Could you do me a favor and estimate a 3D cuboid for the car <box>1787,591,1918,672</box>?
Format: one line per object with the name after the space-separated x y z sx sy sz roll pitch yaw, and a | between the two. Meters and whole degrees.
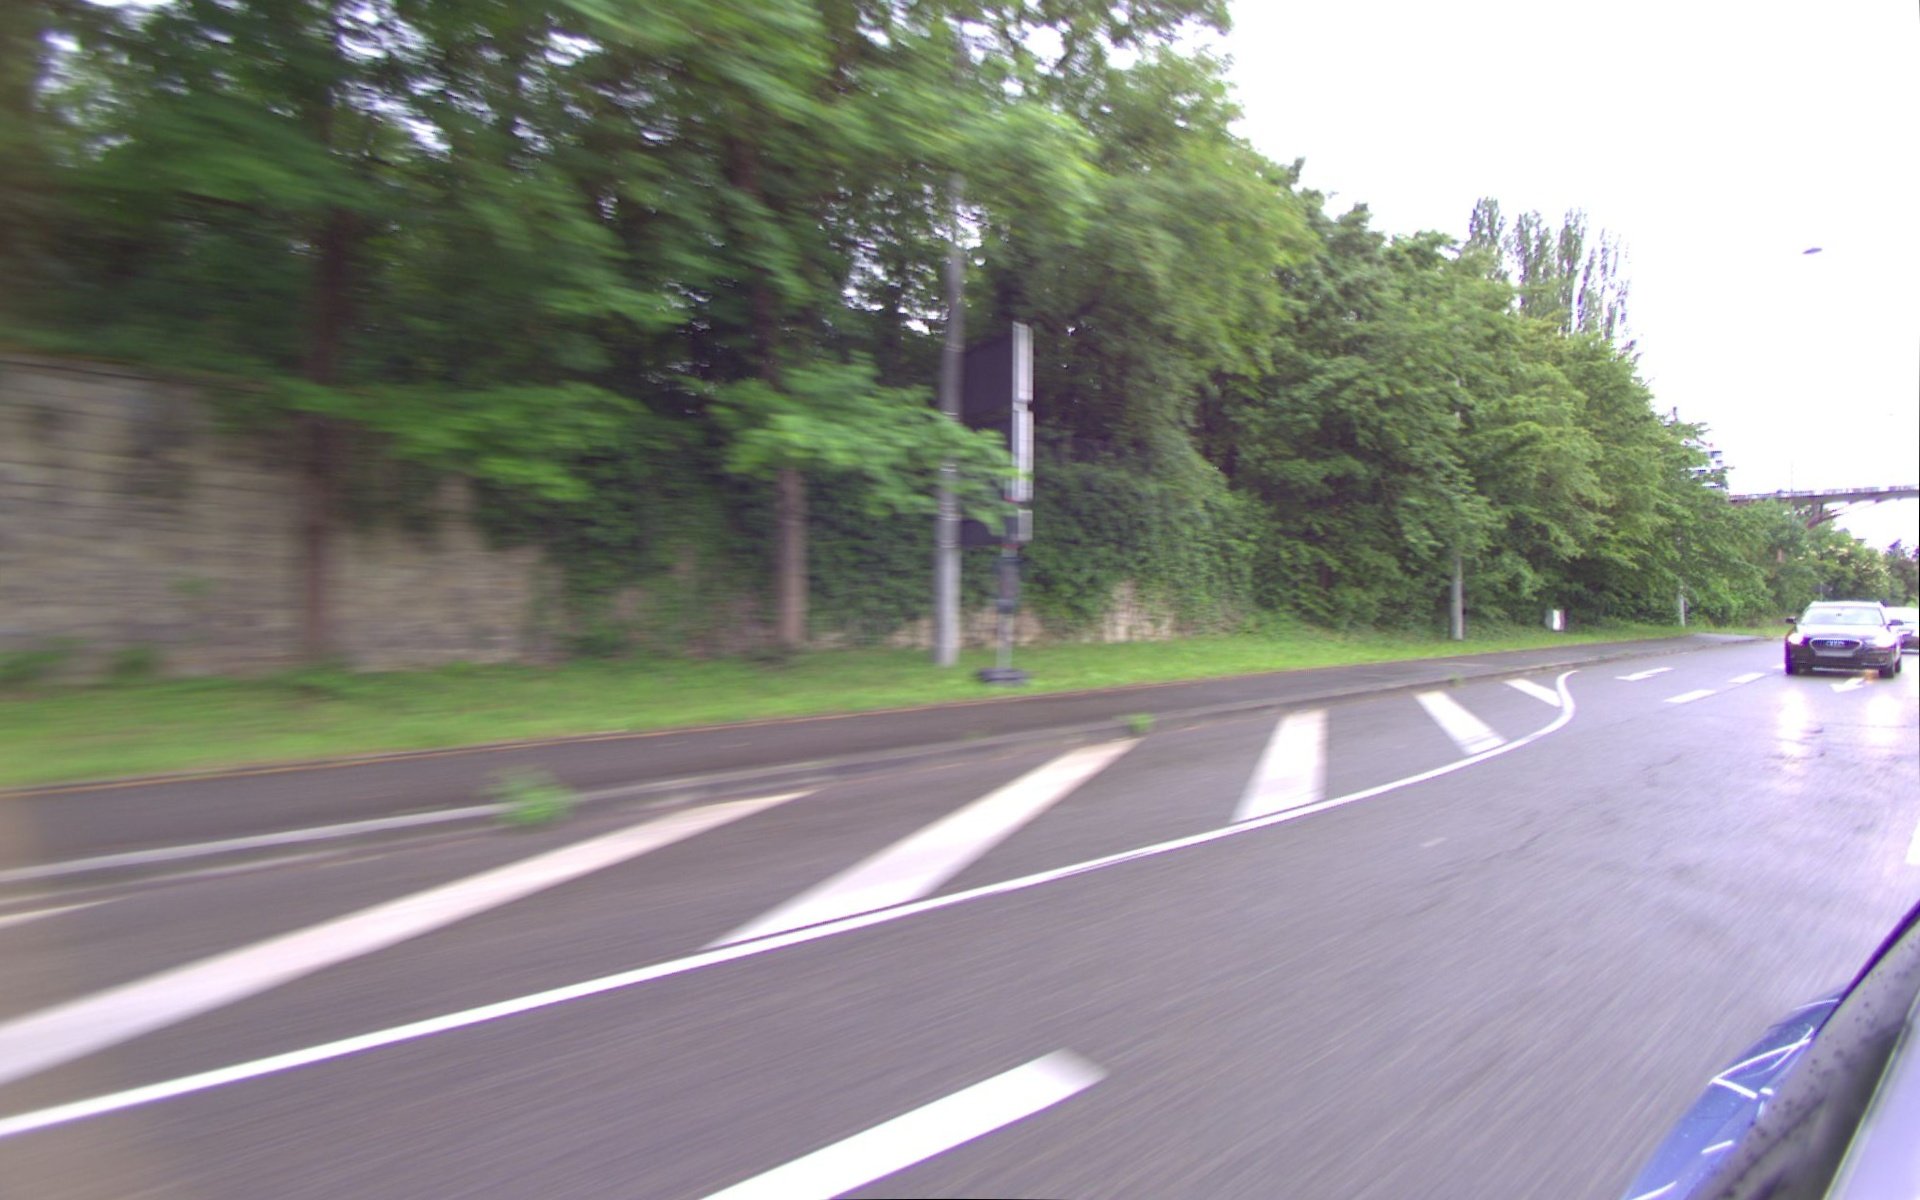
19.829 0.630 22.430 4.209 1.621 1.924 0 0 -45 | car

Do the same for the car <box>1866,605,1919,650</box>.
31.054 0.871 33.052 3.932 1.403 1.843 1 -1 -43 | car
